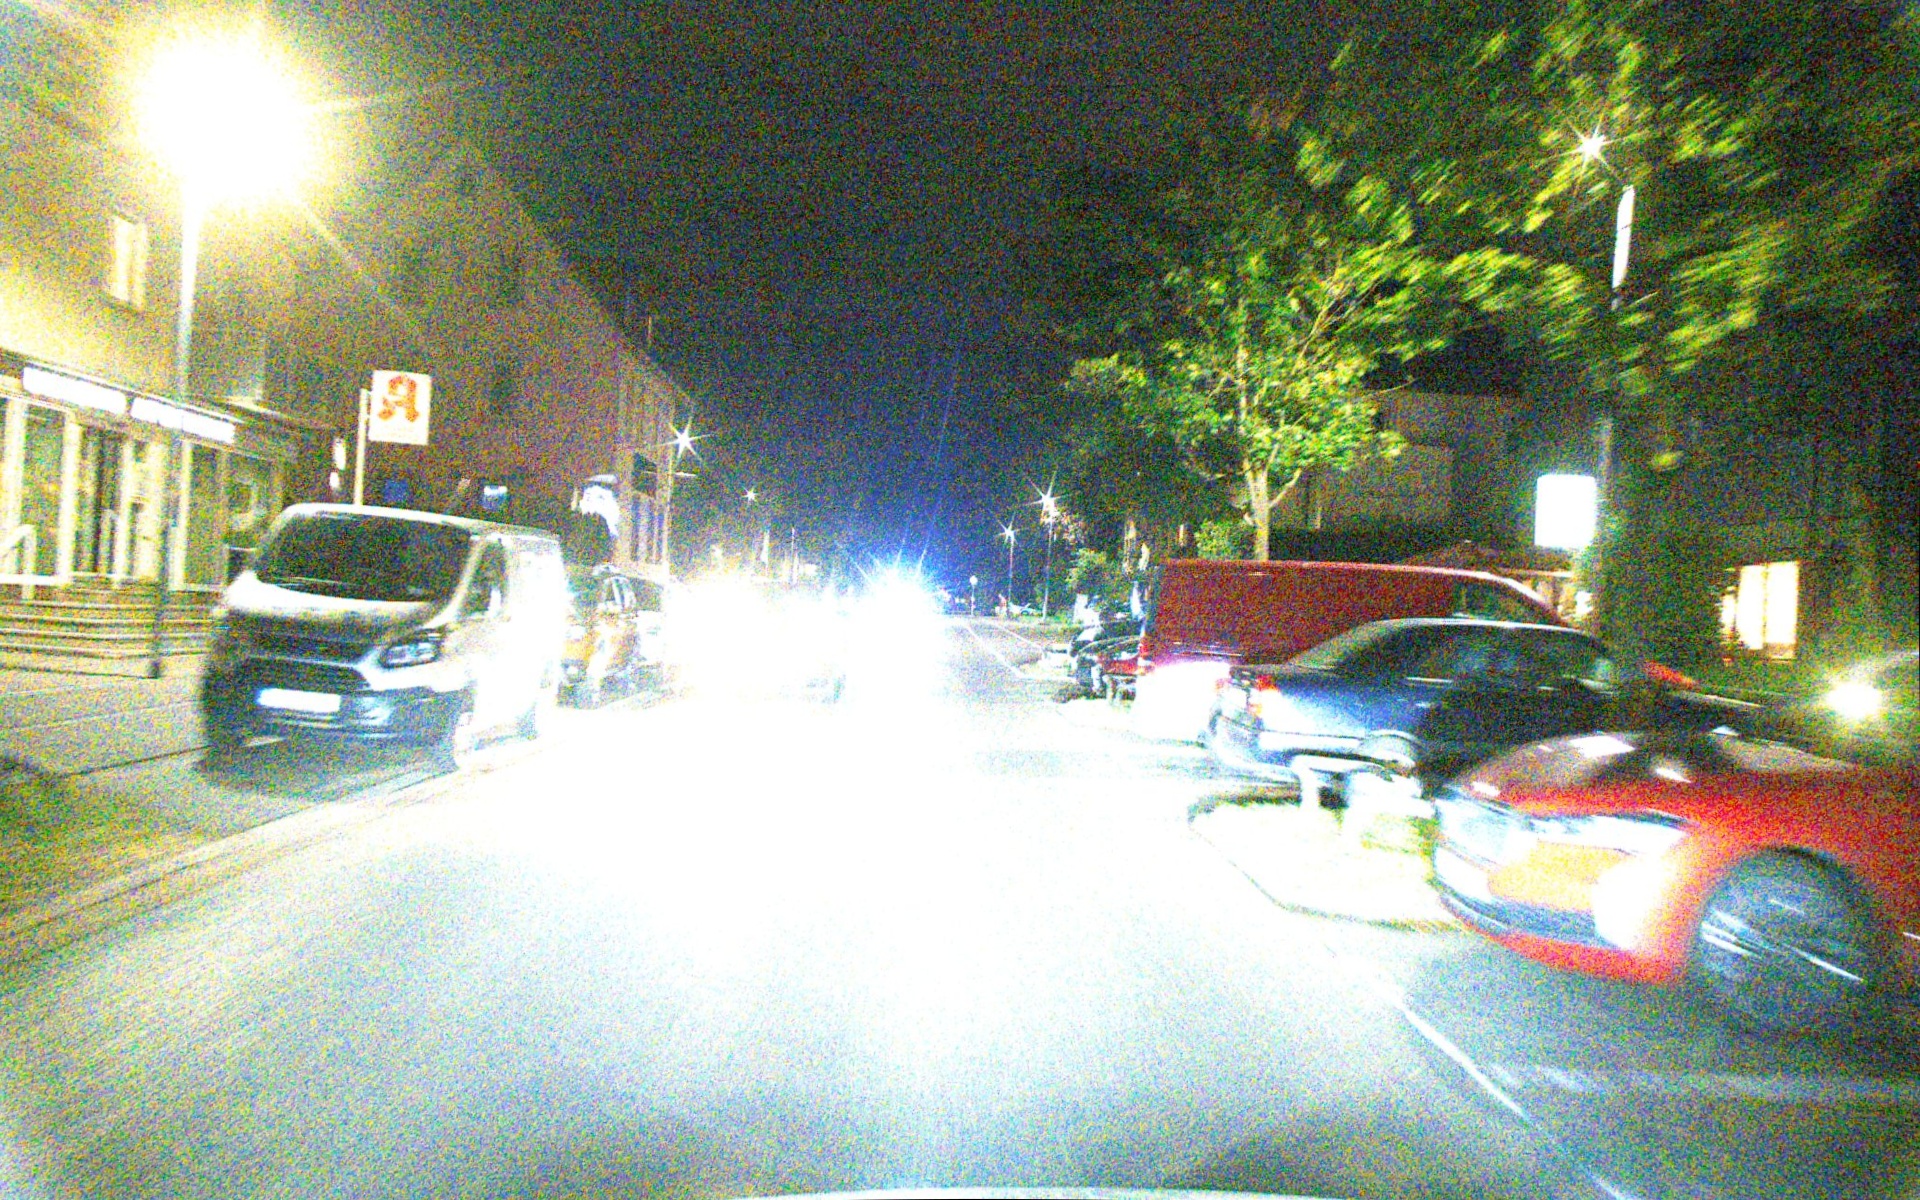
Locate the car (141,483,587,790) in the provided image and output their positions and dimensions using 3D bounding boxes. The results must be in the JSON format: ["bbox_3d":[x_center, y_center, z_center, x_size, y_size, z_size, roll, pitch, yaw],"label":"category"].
[{"bbox_3d":[-4.725,0.240,14.059,2.074,1.980,4.885,5,0,-3],"label":"car"}]

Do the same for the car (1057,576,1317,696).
[{"bbox_3d":[3.859,0.593,28.648,4.263,1.848,2.032,2,0,4],"label":"car"}]

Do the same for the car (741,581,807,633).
[{"bbox_3d":[-5.869,0.197,52.454,1.735,1.494,3.965,2,0,-2],"label":"car"}]

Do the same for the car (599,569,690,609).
[{"bbox_3d":[-14.071,-0.502,73.948,3.913,1.732,1.944,0,0,-9],"label":"car"}]

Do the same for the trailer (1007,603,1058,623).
[{"bbox_3d":[5.017,0.881,115.092,3.364,1.019,1.954,6,0,-2],"label":"trailer"}]

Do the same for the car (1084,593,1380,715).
[{"bbox_3d":[3.790,0.756,23.493,3.837,1.540,1.854,2,-1,-2],"label":"car"}]

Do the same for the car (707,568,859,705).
[{"bbox_3d":[-2.450,0.467,23.698,1.684,1.745,3.961,2,0,0],"label":"car"}]

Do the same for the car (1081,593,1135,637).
[{"bbox_3d":[5.733,0.566,64.451,1.606,1.587,3.677,2,0,-2],"label":"car"}]

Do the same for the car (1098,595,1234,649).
[{"bbox_3d":[6.182,0.647,49.980,3.825,1.512,1.832,1,0,-2],"label":"car"}]

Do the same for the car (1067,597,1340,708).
[{"bbox_3d":[3.714,0.788,25.635,3.839,1.540,1.853,2,0,-5],"label":"car"}]

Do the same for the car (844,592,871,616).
[{"bbox_3d":[-7.581,0.311,122.572,1.638,1.618,3.987,4,0,0],"label":"car"}]

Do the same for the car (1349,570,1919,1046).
[{"bbox_3d":[4.159,0.792,6.813,4.560,1.584,2.106,3,0,-1],"label":"car"}]

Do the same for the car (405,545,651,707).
[{"bbox_3d":[-5.253,0.280,20.733,2.074,1.699,4.167,4,0,-3],"label":"car"}]

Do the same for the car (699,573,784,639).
[{"bbox_3d":[-6.162,0.144,47.110,1.890,1.665,4.469,4,0,-2],"label":"car"}]

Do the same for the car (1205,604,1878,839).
[{"bbox_3d":[4.134,0.836,12.315,4.308,1.444,1.935,2,0,0],"label":"car"}]

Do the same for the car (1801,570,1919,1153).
[{"bbox_3d":[4.594,0.808,4.150,3.906,1.584,2.000,3,0,-1],"label":"car"}]

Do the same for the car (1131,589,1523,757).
[{"bbox_3d":[3.843,0.739,17.903,3.834,1.578,1.988,2,0,3],"label":"car"}]

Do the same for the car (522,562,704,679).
[{"bbox_3d":[-5.413,0.283,26.392,2.074,1.575,4.474,4,0,-3],"label":"car"}]
